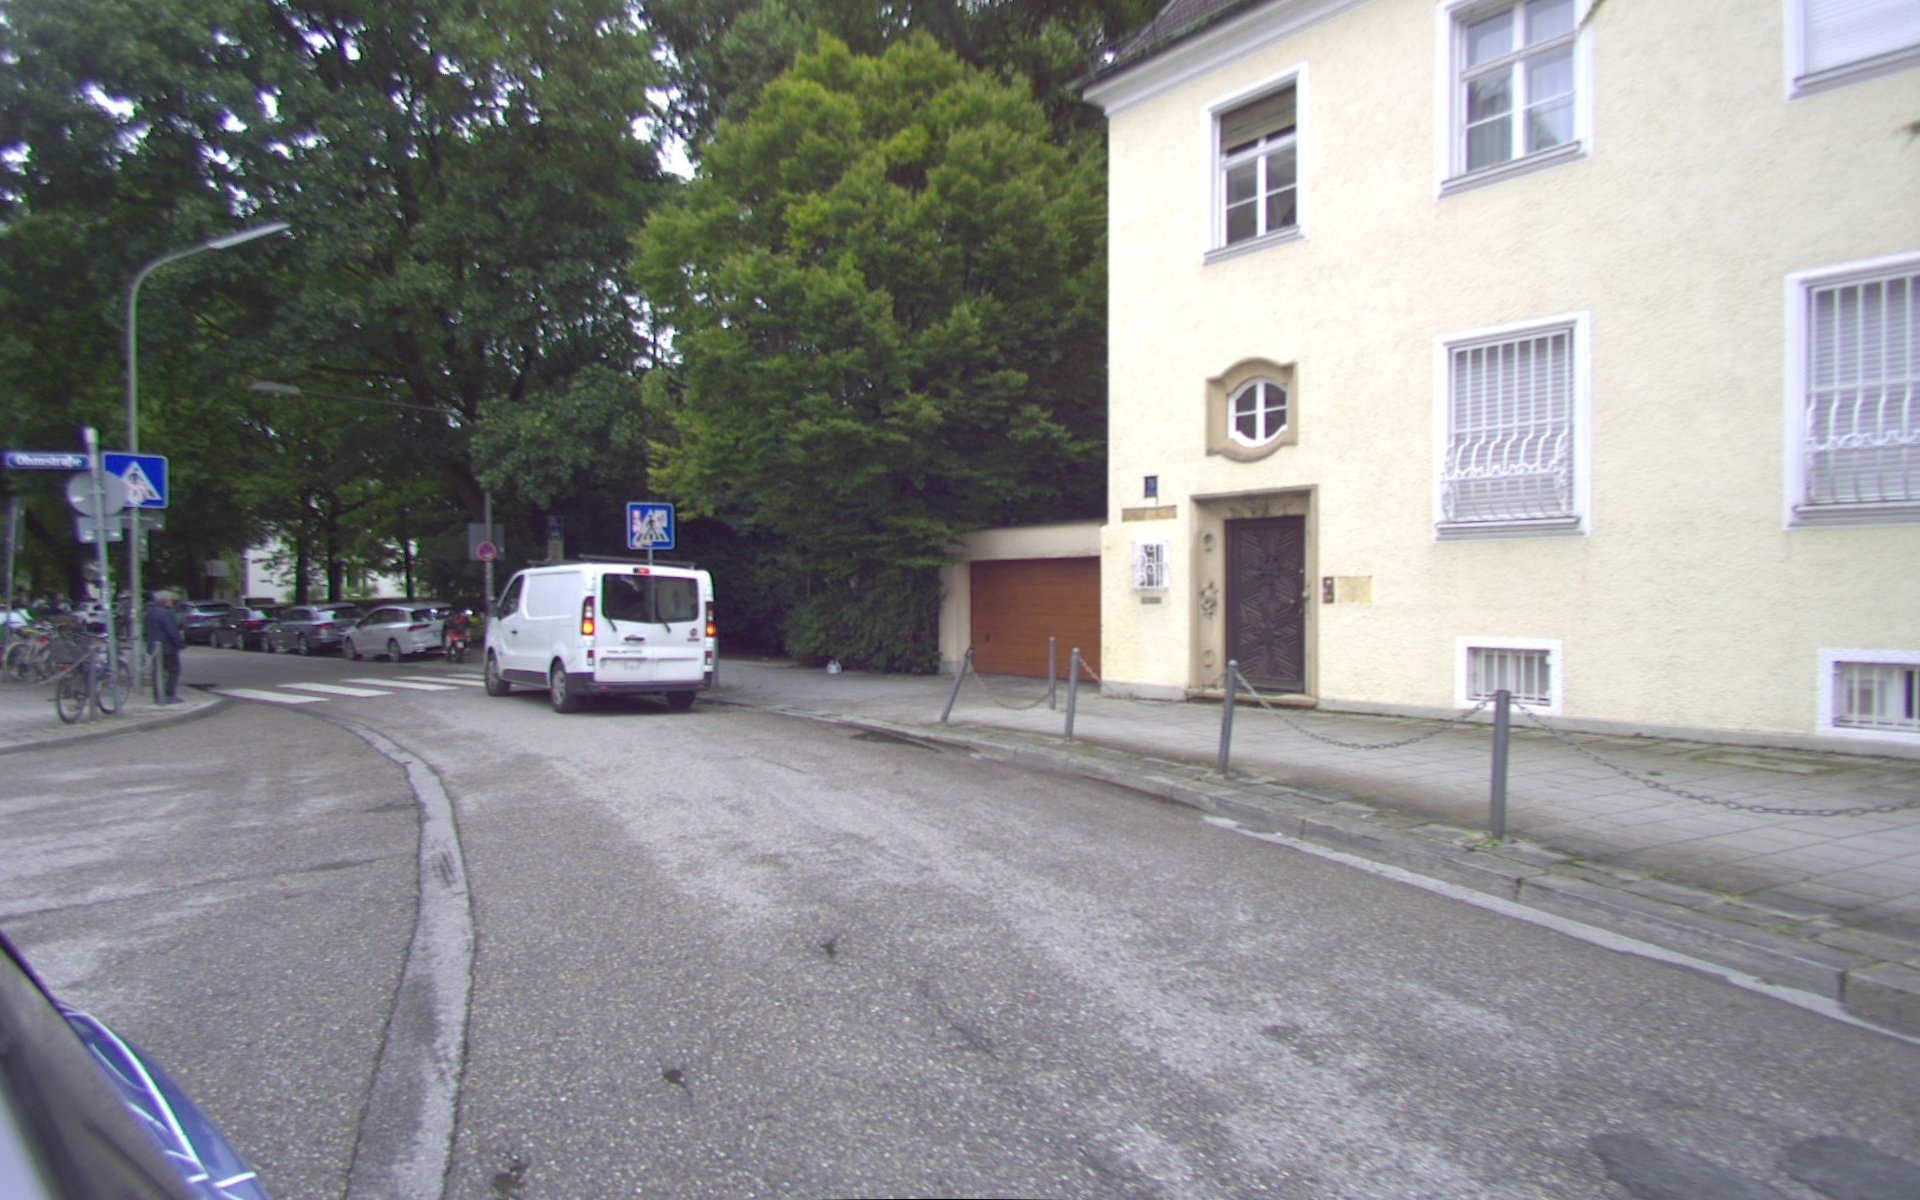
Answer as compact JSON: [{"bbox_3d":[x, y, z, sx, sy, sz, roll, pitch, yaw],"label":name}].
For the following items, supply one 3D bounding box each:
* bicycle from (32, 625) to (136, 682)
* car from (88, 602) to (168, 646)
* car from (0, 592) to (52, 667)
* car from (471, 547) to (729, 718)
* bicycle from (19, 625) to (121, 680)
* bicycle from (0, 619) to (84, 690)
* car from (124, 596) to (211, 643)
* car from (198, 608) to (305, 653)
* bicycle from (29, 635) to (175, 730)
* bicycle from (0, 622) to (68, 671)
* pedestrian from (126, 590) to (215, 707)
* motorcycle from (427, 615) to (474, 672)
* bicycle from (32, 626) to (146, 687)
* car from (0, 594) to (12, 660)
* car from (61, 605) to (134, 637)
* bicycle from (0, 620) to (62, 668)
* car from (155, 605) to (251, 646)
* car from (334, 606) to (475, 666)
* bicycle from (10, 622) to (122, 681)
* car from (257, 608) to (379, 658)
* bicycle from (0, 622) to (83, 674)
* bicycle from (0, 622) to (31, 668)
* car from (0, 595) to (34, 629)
[{"bbox_3d":[-18.928,1.143,21.905,1.656,1.156,0.513,0,0,-34],"label":"bicycle"},{"bbox_3d":[-36.778,1.042,44.708,4.510,1.849,1.755,-1,0,38],"label":"car"},{"bbox_3d":[-26.987,0.757,28.011,4.654,1.966,1.975,0,0,38],"label":"car"},{"bbox_3d":[-5.418,0.431,14.766,2.014,2.057,4.967,1,-1,-39],"label":"car"},{"bbox_3d":[-19.950,1.156,22.714,1.656,1.156,0.513,0,0,-34],"label":"bicycle"},{"bbox_3d":[-16.412,0.942,18.008,0.503,1.156,1.688,0,0,-12],"label":"bicycle"},{"bbox_3d":[-32.466,0.791,41.437,4.510,1.832,1.755,-1,-1,38],"label":"car"},{"bbox_3d":[-24.466,1.006,34.898,4.510,1.443,1.755,-1,0,38],"label":"car"},{"bbox_3d":[-10.645,0.979,12.639,0.503,1.018,2.013,0,0,-12],"label":"bicycle"},{"bbox_3d":[-22.994,1.129,24.781,1.656,1.156,0.513,0,0,-34],"label":"bicycle"},{"bbox_3d":[-11.516,0.685,14.770,0.807,1.654,0.721,0,0,21],"label":"pedestrian"},{"bbox_3d":[-11.807,0.978,23.505,0.844,1.192,2.012,-4,2,-25],"label":"motorcycle"},{"bbox_3d":[-17.503,1.121,20.386,1.680,1.156,0.513,0,0,-34],"label":"bicycle"},{"bbox_3d":[-30.983,0.796,31.108,4.654,1.966,1.975,0,0,38],"label":"car"},{"bbox_3d":[-40.925,0.993,47.977,4.510,1.443,1.755,-1,0,38],"label":"car"},{"bbox_3d":[-23.668,1.101,25.369,1.656,1.156,0.513,0,0,-34],"label":"bicycle"},{"bbox_3d":[-28.515,0.915,38.065,4.510,1.443,1.755,-1,0,38],"label":"car"},{"bbox_3d":[-14.826,0.909,26.931,4.427,1.460,1.605,0,-1,37],"label":"car"},{"bbox_3d":[-18.223,1.030,20.664,1.656,1.156,0.467,0,0,-34],"label":"bicycle"},{"bbox_3d":[-19.802,0.971,31.163,4.510,1.443,1.755,-1,0,38],"label":"car"},{"bbox_3d":[-21.151,1.083,23.106,1.656,1.156,0.513,0,0,-34],"label":"bicycle"},{"bbox_3d":[-24.894,1.160,25.839,1.656,1.156,0.513,0,0,-34],"label":"bicycle"},{"bbox_3d":[-57.500,0.690,61.048,4.659,1.966,1.973,0,0,41],"label":"car"}]
